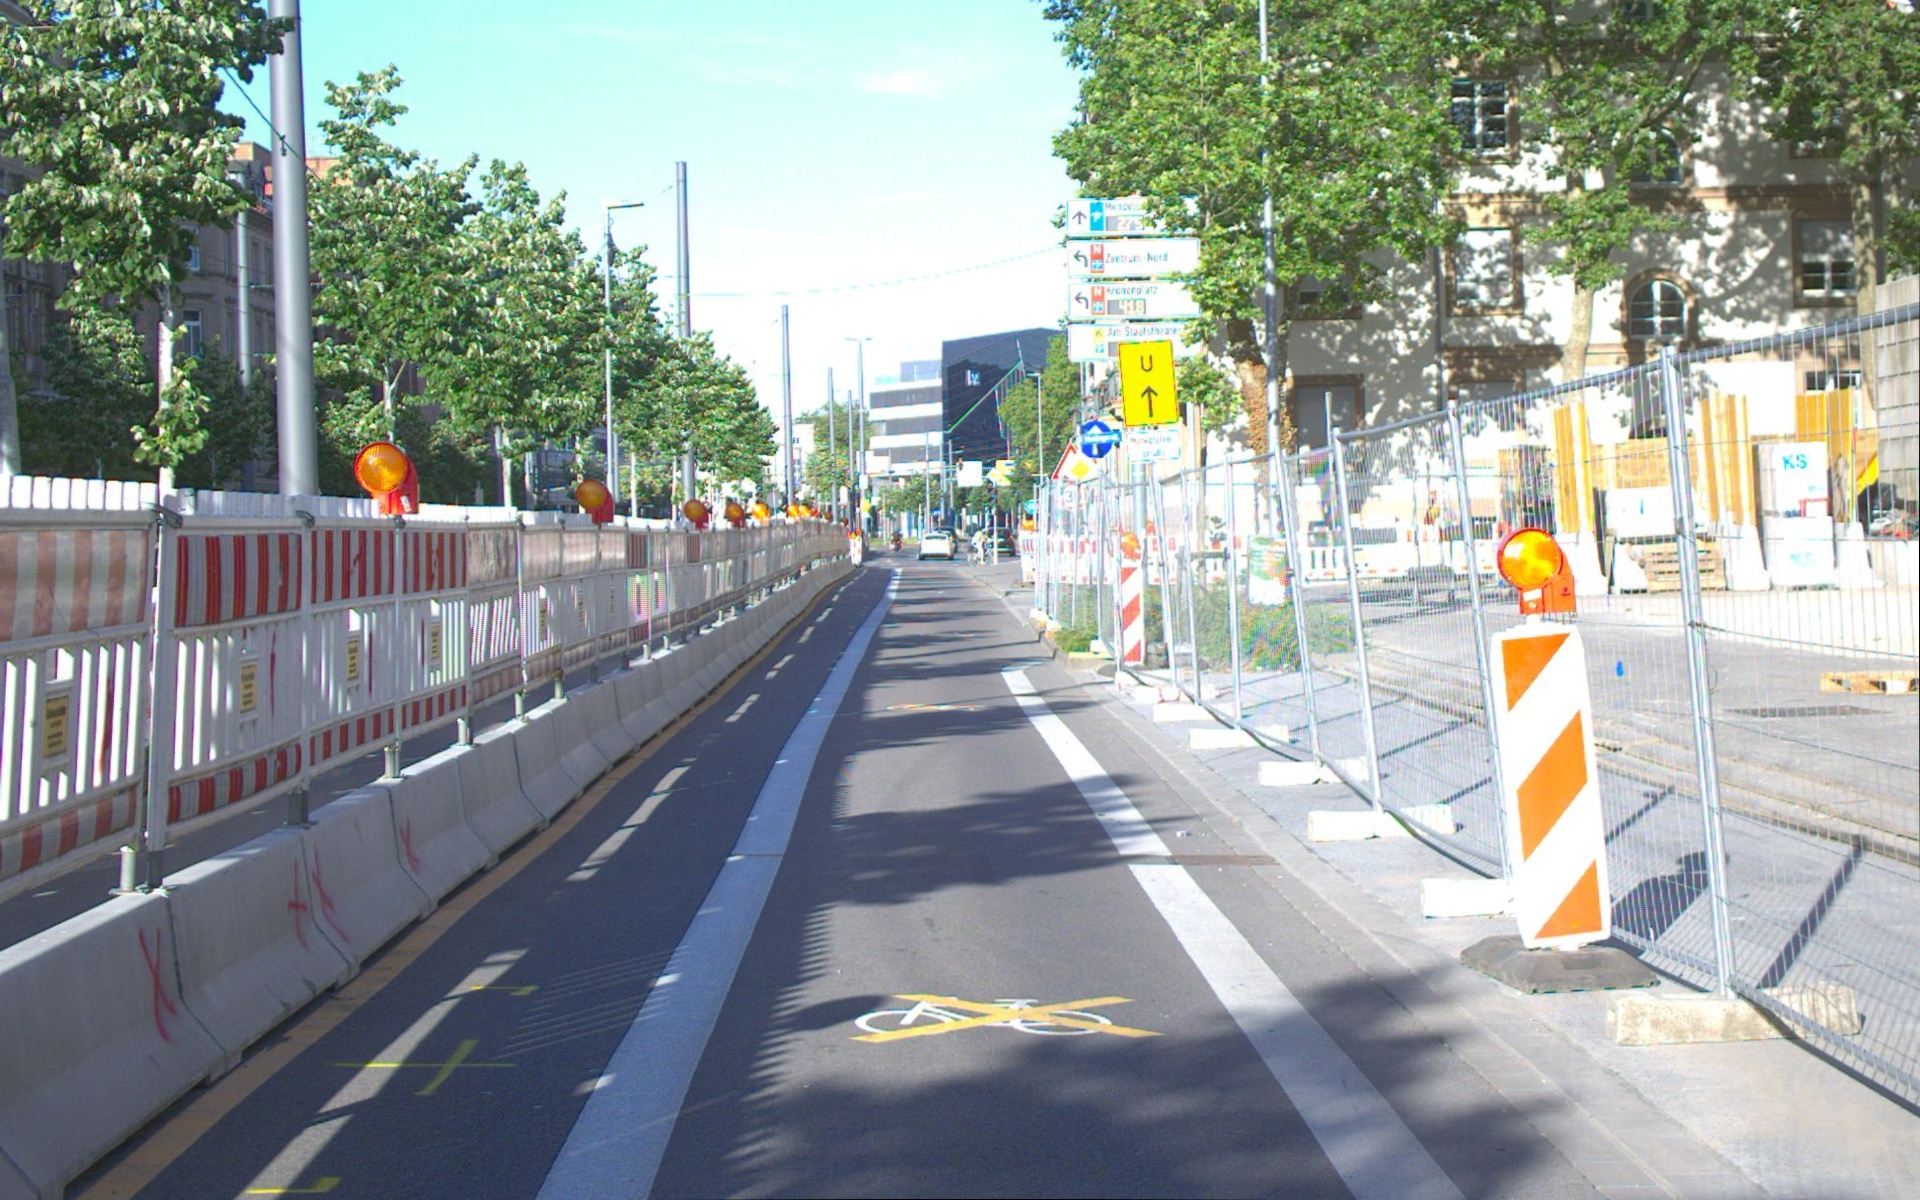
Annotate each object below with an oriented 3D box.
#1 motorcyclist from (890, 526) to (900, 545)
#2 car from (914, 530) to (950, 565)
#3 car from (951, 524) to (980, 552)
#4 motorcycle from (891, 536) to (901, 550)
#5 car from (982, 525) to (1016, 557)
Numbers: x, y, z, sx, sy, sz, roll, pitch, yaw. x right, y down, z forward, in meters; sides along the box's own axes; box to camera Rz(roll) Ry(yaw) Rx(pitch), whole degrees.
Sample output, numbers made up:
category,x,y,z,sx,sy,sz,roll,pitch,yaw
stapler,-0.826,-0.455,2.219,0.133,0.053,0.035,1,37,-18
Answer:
category,x,y,z,sx,sy,sz,roll,pitch,yaw
motorcyclist,-4.313,-4.322,229.508,0.631,1.258,0.606,-1,1,-1
car,-1.502,-2.835,186.287,1.883,1.836,3.668,-1,1,-1
car,0.366,-4.231,234.331,1.883,1.836,3.668,-1,1,-1
motorcycle,-4.301,-3.801,229.479,0.631,0.893,1.621,-1,1,-1
car,2.317,-3.515,203.807,1.883,1.836,3.668,-1,1,-1
